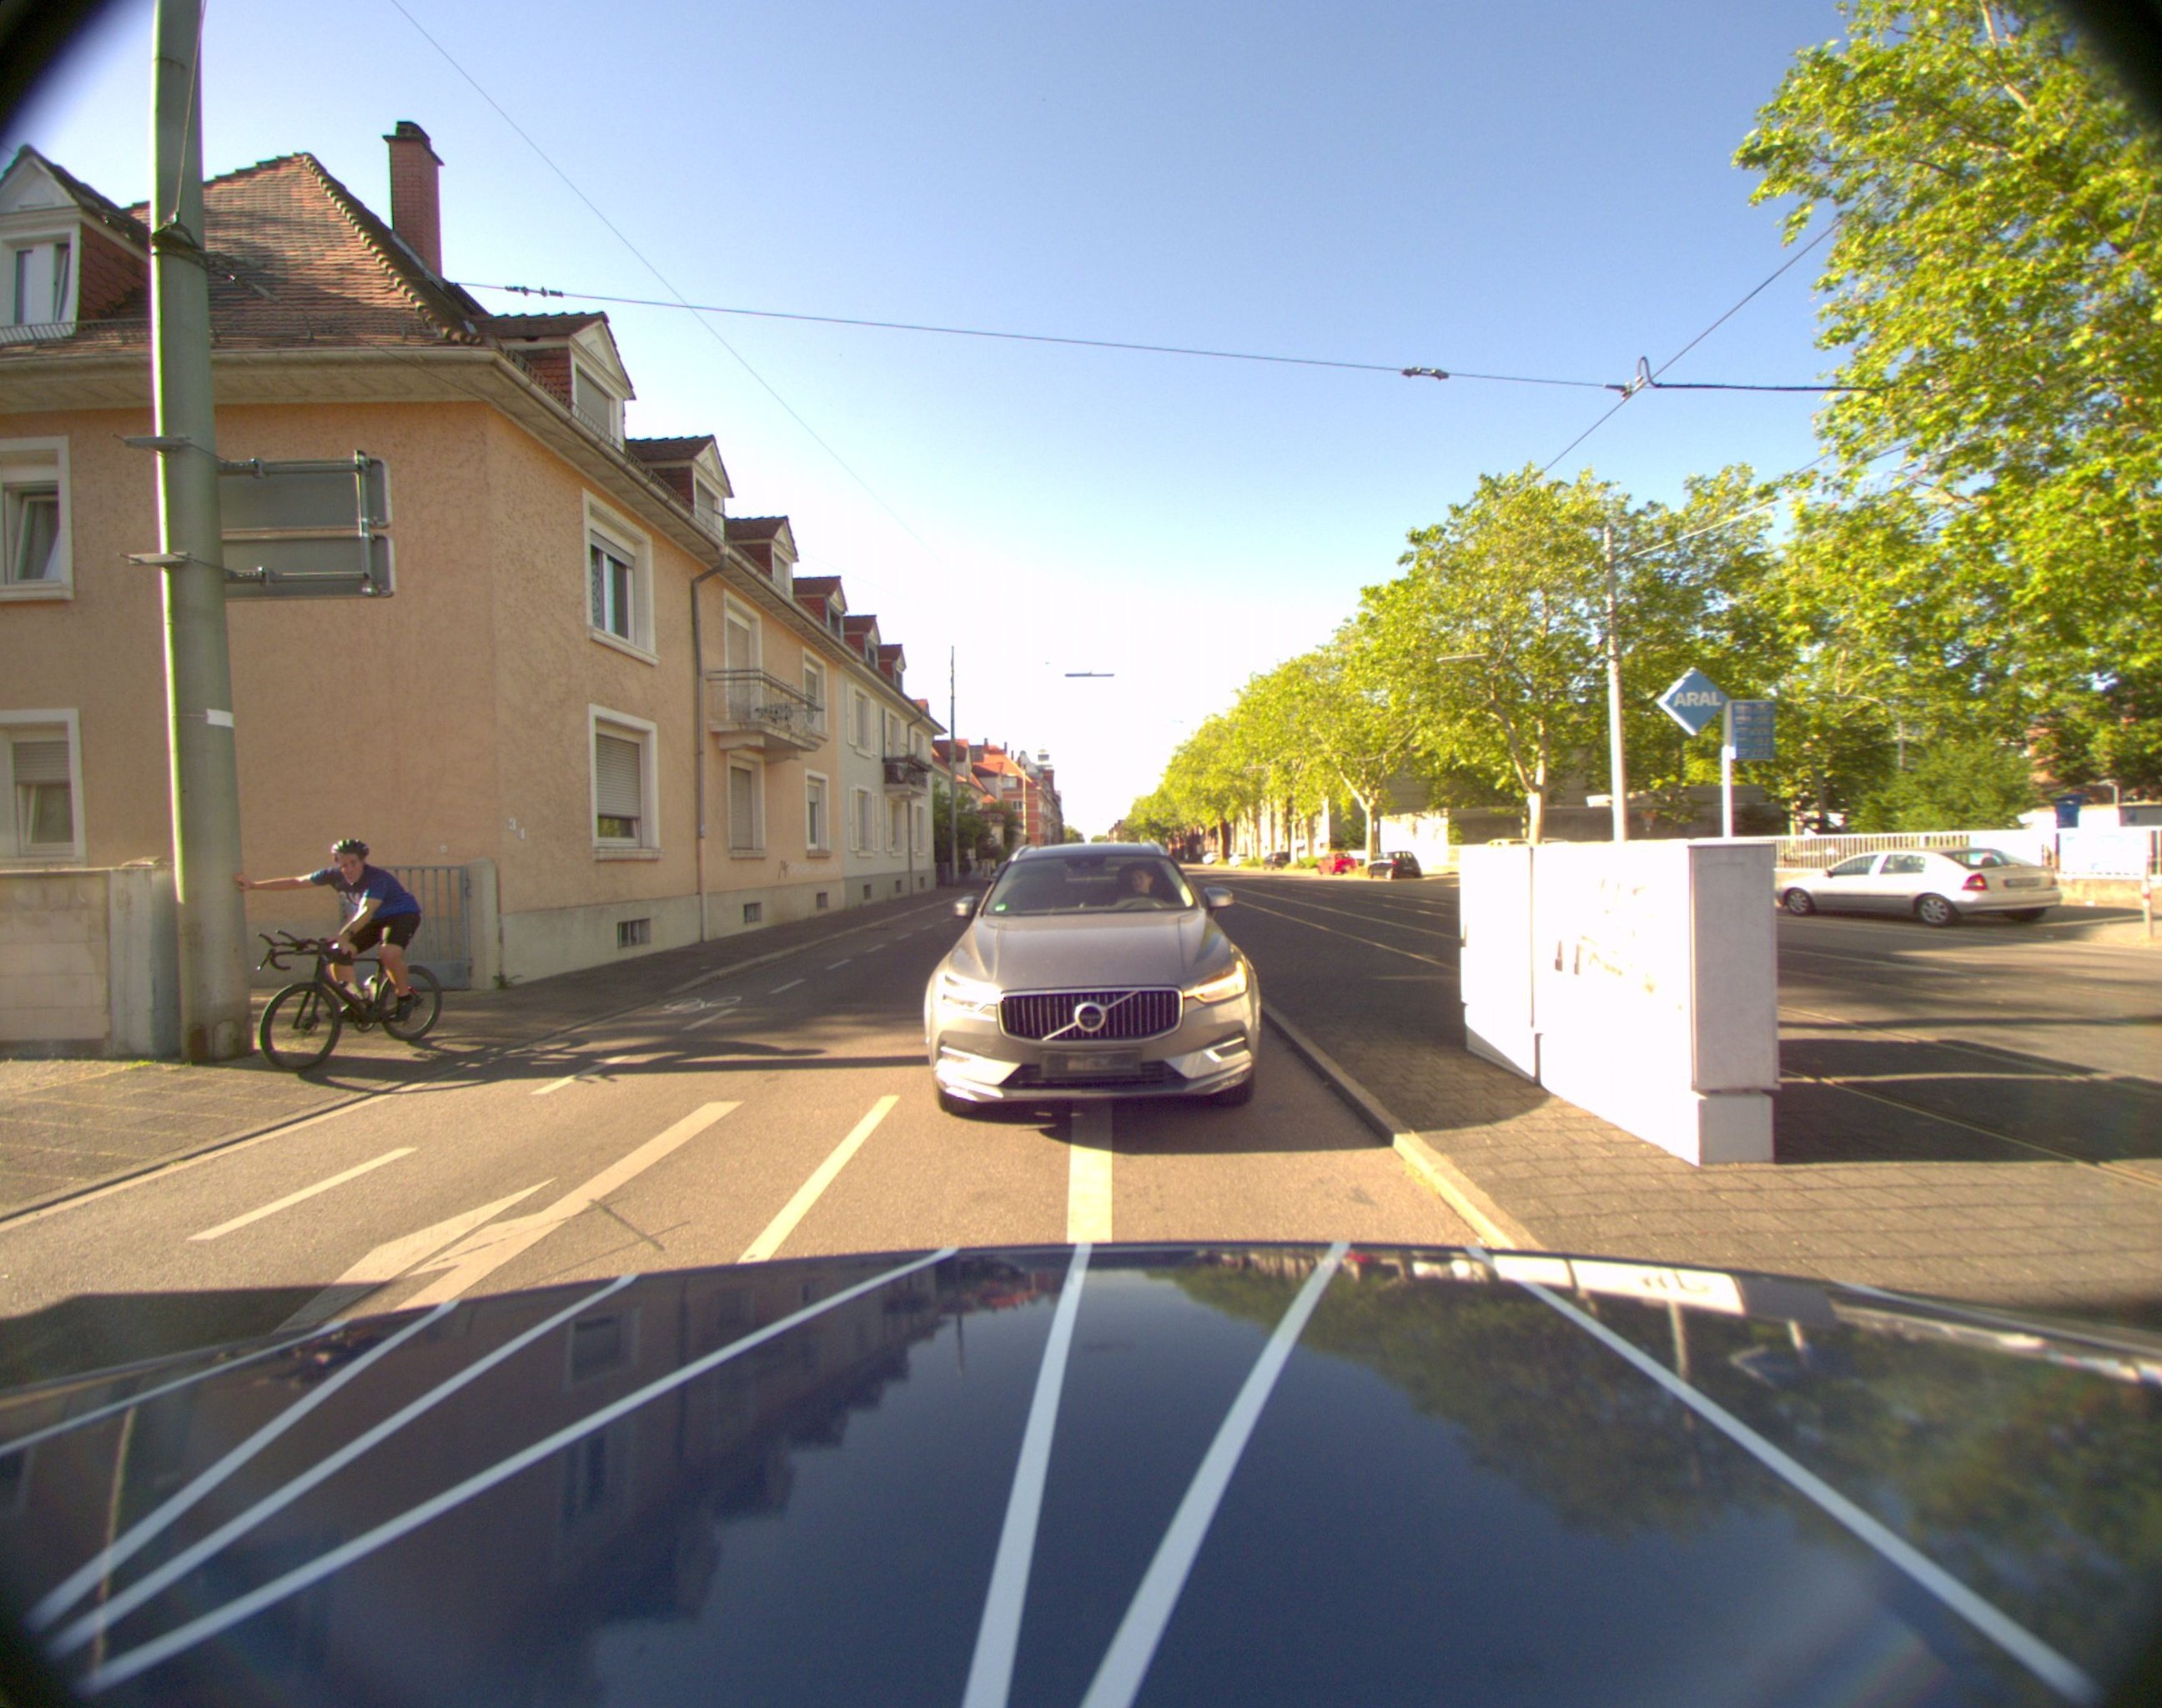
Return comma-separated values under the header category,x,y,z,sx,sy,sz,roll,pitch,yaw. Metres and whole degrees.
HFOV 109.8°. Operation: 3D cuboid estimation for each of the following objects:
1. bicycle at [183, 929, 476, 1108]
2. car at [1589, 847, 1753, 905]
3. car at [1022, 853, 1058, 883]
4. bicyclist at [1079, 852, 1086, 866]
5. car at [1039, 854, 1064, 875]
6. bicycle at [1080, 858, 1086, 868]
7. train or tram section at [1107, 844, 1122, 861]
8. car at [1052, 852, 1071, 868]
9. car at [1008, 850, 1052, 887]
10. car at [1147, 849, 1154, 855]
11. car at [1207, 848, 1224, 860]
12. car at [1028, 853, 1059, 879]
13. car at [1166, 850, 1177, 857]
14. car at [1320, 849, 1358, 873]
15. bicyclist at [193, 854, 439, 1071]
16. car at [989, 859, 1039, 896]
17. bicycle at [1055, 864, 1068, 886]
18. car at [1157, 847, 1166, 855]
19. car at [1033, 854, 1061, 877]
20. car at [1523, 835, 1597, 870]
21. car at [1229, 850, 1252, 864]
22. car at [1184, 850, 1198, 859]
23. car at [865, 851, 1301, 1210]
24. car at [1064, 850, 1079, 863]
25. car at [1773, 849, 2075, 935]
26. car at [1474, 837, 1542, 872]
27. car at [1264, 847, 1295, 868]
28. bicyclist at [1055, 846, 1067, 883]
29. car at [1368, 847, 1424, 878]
category,x,y,z,sx,sy,sz,roll,pitch,yaw
bicycle,-6.034,1.253,6.274,0.592,1.062,1.775,4,0,1
car,16.420,0.566,21.410,1.695,1.395,3.749,-3,0,1
car,-2.576,0.863,48.479,1.793,1.673,3.814,-3,0,2
bicyclist,0.189,0.560,88.727,0.685,1.611,0.855,-2,1,1
car,-2.542,0.870,67.069,1.793,1.673,3.814,-3,0,2
bicycle,0.207,1.022,88.726,0.685,1.098,1.806,-2,1,1
train or tram section,7.288,-0.371,165.847,2.717,3.643,12.653,-1,0,0
car,-2.141,0.647,85.363,1.793,1.673,3.814,-3,0,2
car,-2.815,0.750,42.814,1.793,1.828,5.149,-3,0,2
car,19.669,-0.599,214.802,1.695,1.775,3.749,-3,0,1
car,17.803,0.039,100.708,1.695,1.440,3.749,-3,0,1
car,-2.623,0.845,53.999,1.793,1.673,3.814,-3,0,2
car,19.280,-0.175,161.871,1.695,1.440,3.749,-3,0,1
car,16.887,0.443,49.860,1.599,1.498,2.622,-3,0,1
bicyclist,-6.237,0.830,6.261,1.051,1.599,0.885,4,0,1
car,-3.214,1.092,37.041,1.695,1.571,3.815,-3,0,5
bicycle,-0.996,1.104,39.435,0.519,1.084,1.797,-1,-2,3
car,20.253,-0.706,191.408,1.695,1.775,3.749,-3,0,1
car,-2.710,0.896,61.024,1.793,1.673,3.814,-3,0,2
car,23.888,-0.075,38.019,1.599,1.583,3.304,-2,0,1
car,17.473,0.304,83.537,1.695,1.440,3.749,-3,0,1
car,18.210,0.087,125.517,1.695,1.440,3.749,-3,0,1
car,0.039,0.832,5.747,1.998,1.628,4.306,-2,0,1
car,-1.283,0.379,107.097,1.793,1.673,3.814,-3,0,2
car,16.234,0.645,14.975,1.695,1.395,3.813,-3,0,1
car,21.555,0.021,38.467,1.599,1.606,3.304,-2,0,1
car,17.147,0.284,65.883,1.695,1.648,3.749,-3,0,1
bicyclist,-1.020,0.555,39.309,0.519,1.922,0.946,-1,-2,3
car,16.894,0.434,40.889,1.599,1.498,3.304,-3,0,1
